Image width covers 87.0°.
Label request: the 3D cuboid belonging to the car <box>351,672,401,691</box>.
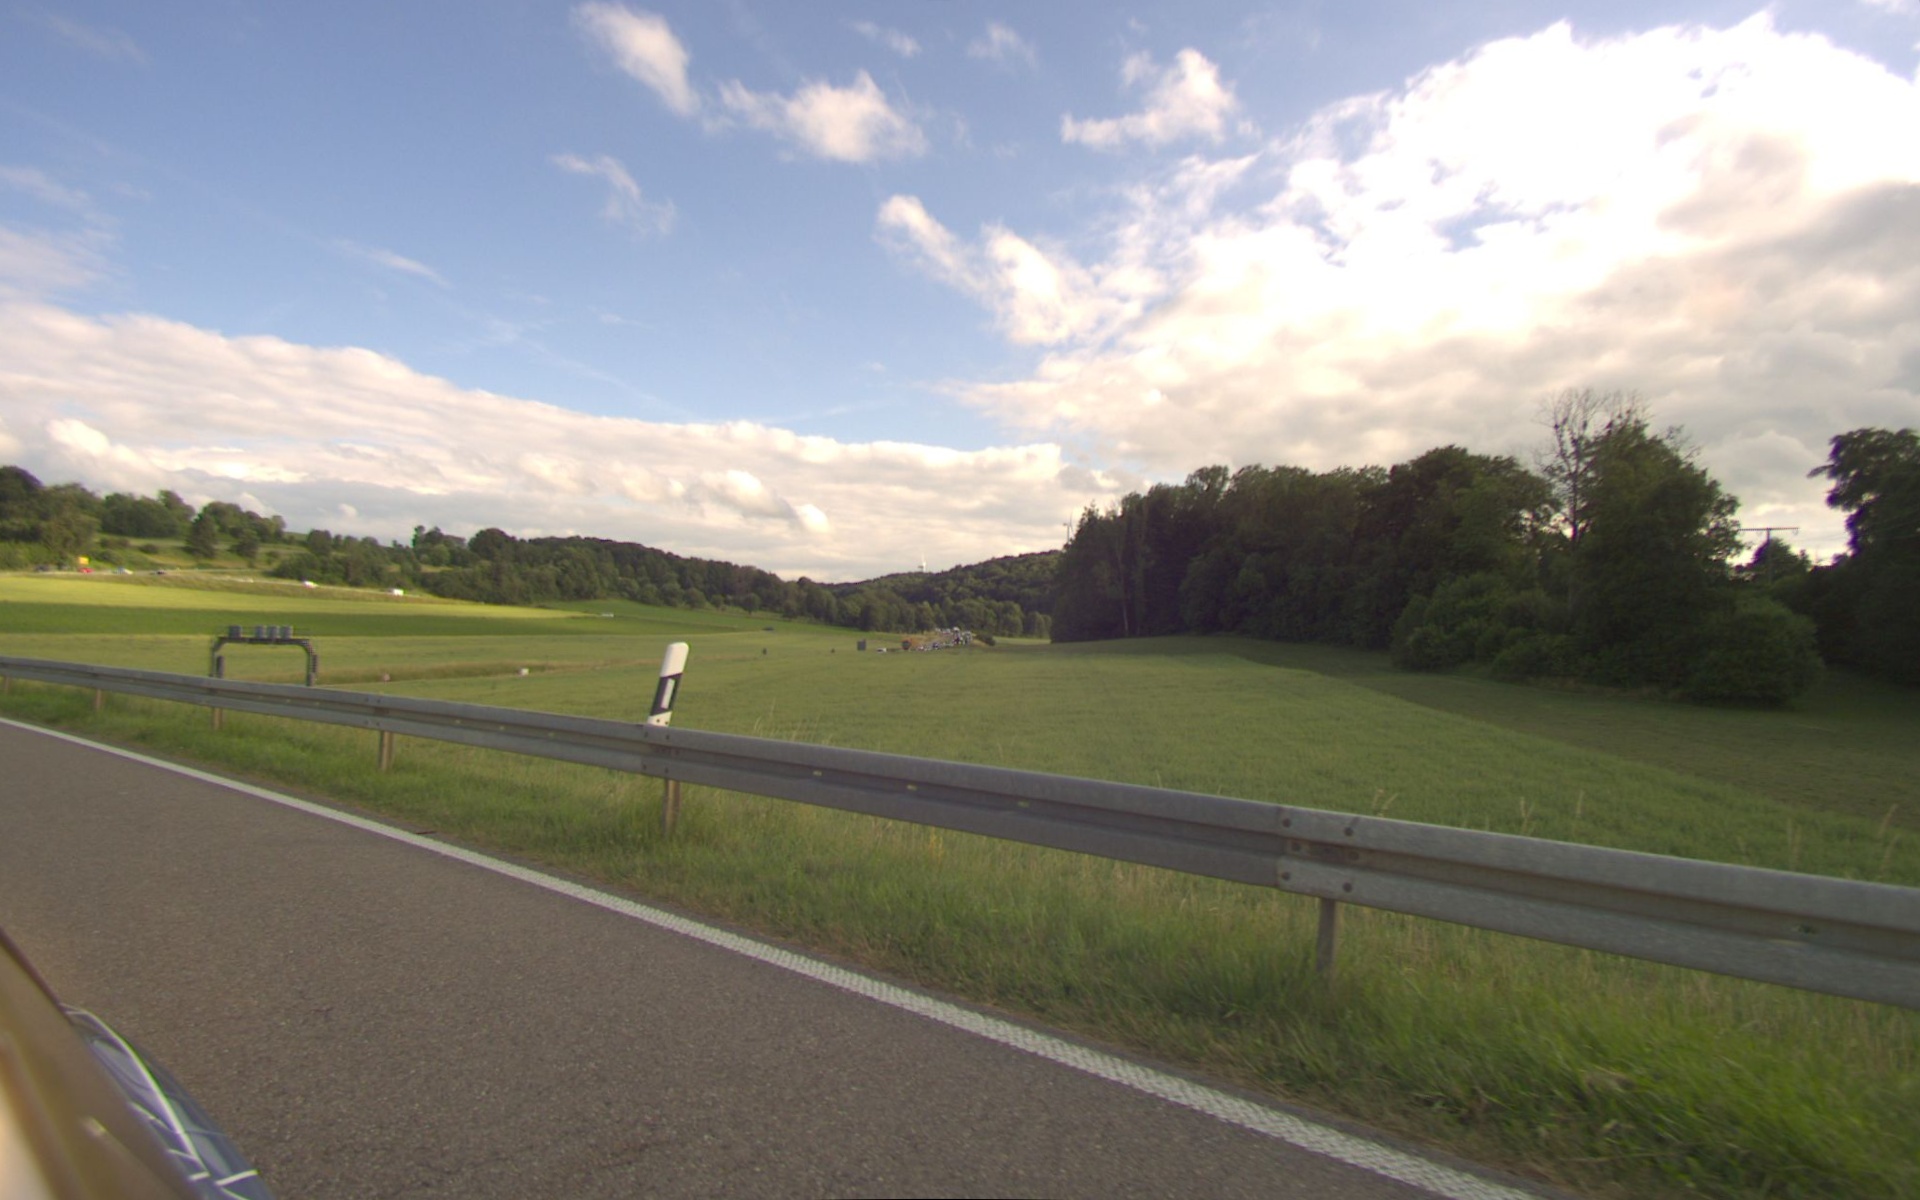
[{"bbox_3d":[-57.580,8.054,99.860,1.815,1.662,3.972,1,-2,20],"label":"car"}]
